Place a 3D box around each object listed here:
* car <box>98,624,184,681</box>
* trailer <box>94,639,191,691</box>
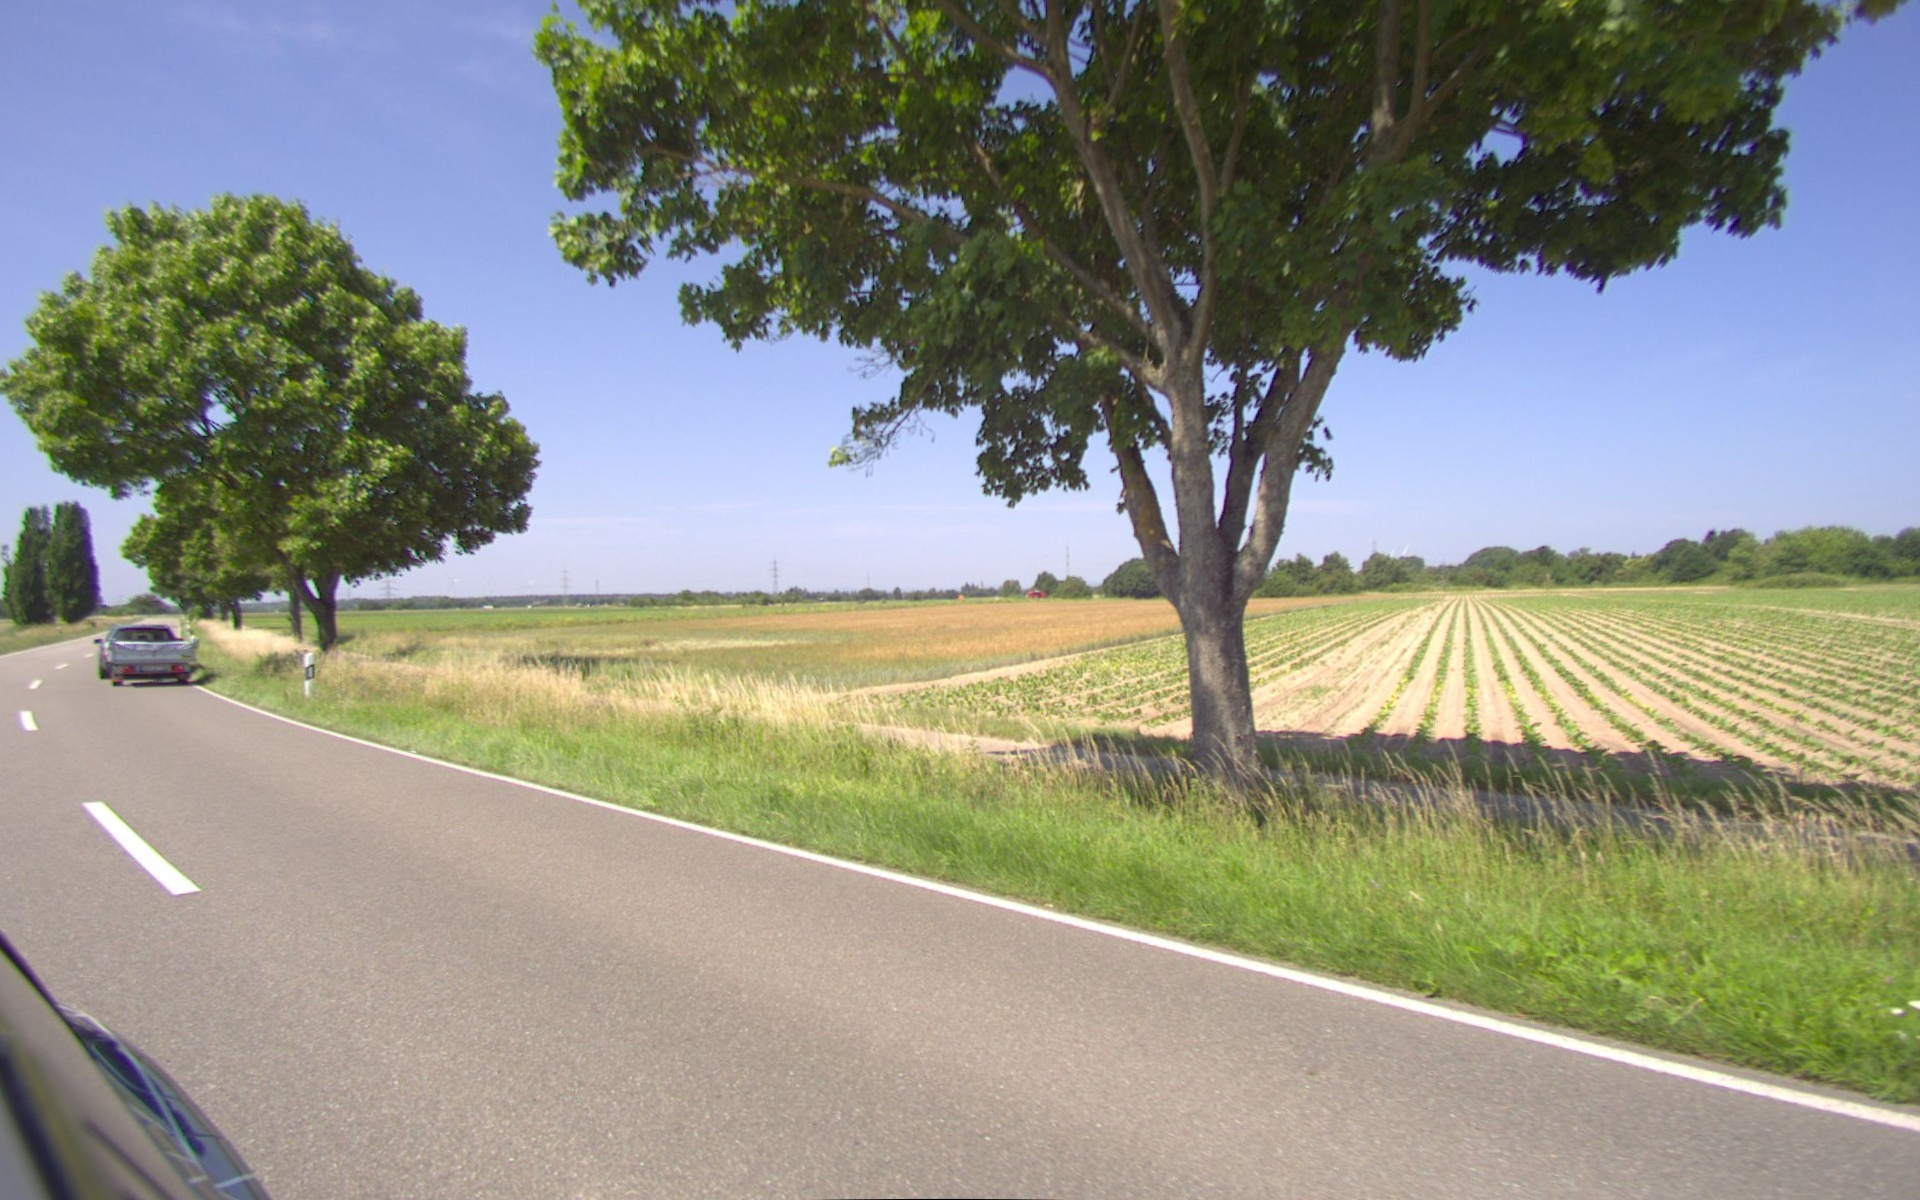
[{"bbox_3d":[-22.456,1.375,27.697,1.624,1.440,4.185,1,-1,-42],"label":"car"},{"bbox_3d":[-19.814,1.509,24.460,1.603,1.073,4.124,1,-1,-42],"label":"trailer"}]
